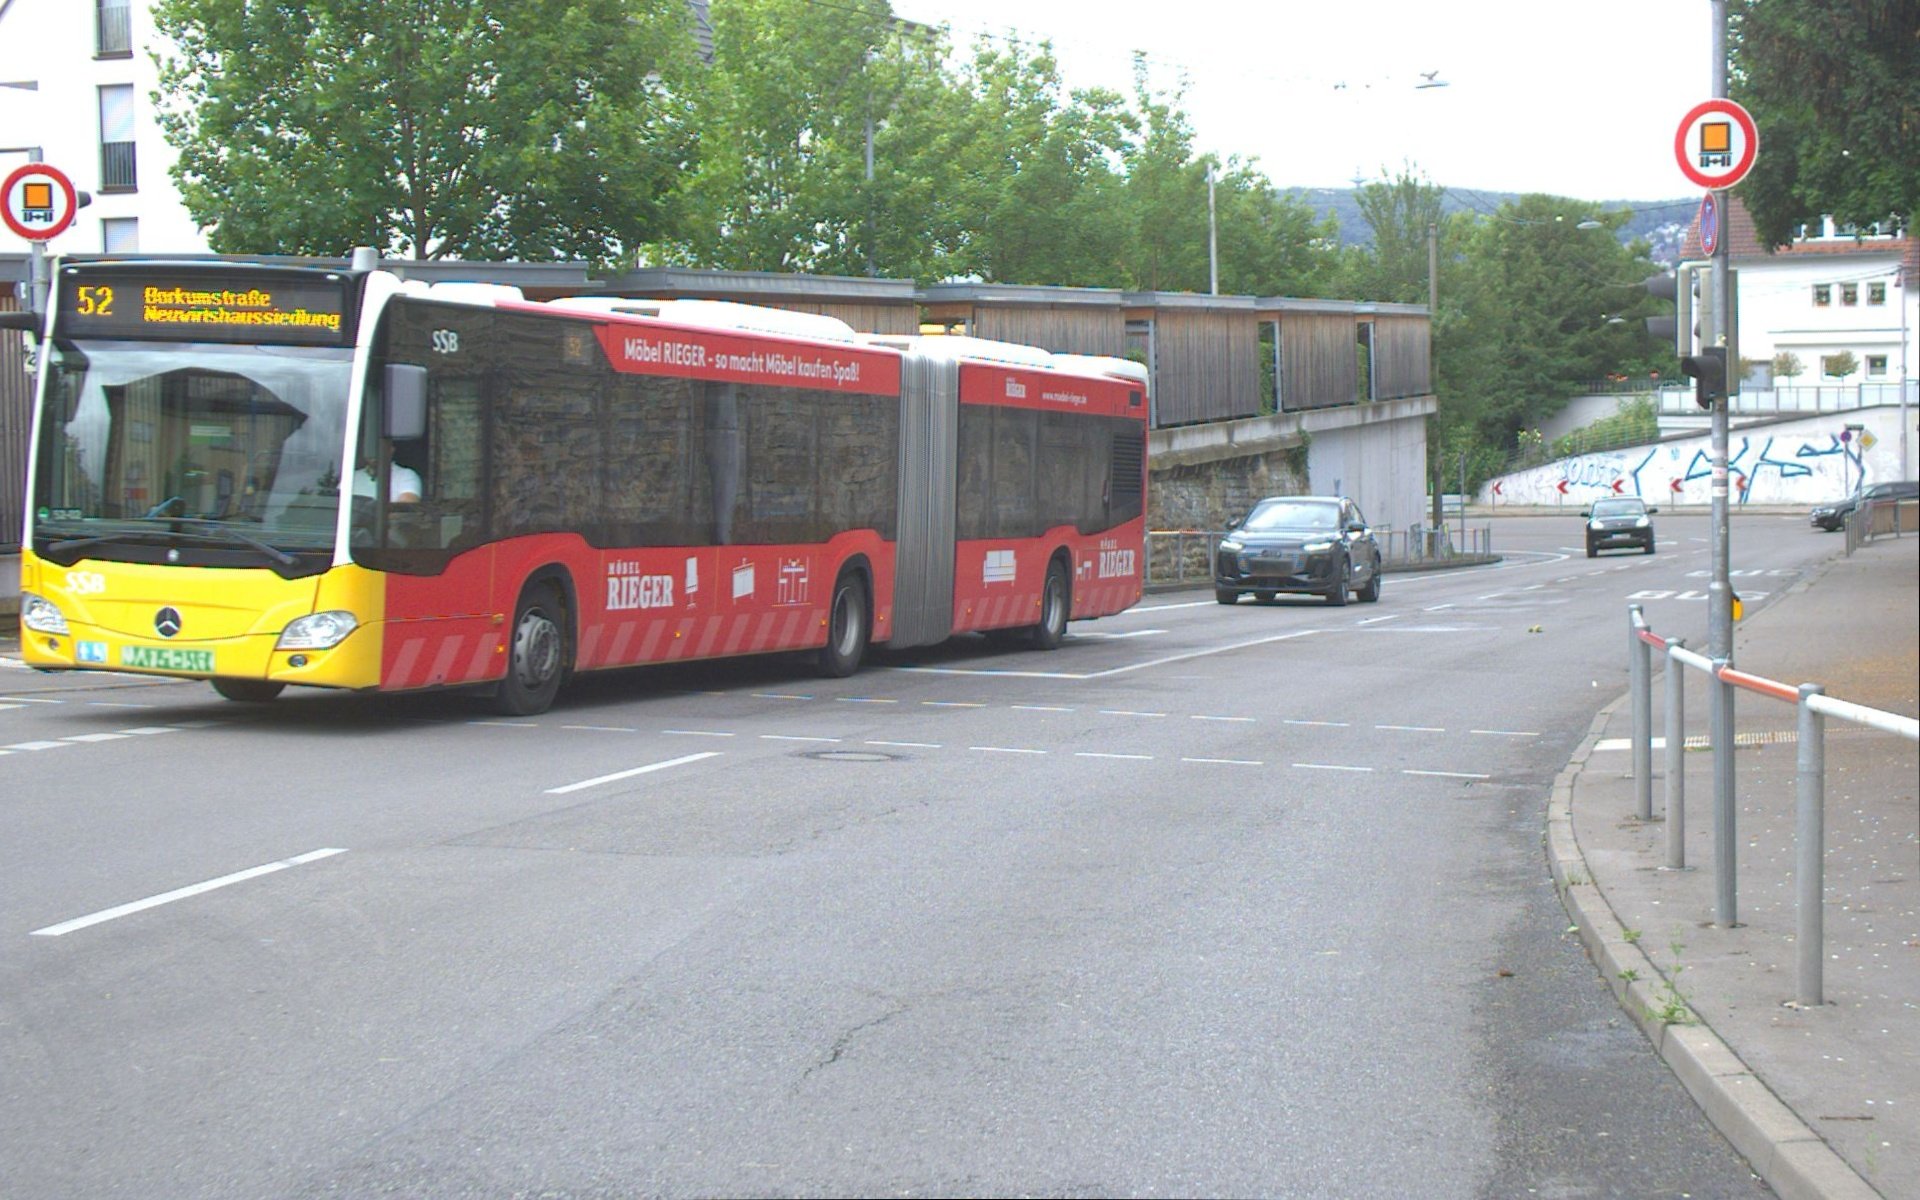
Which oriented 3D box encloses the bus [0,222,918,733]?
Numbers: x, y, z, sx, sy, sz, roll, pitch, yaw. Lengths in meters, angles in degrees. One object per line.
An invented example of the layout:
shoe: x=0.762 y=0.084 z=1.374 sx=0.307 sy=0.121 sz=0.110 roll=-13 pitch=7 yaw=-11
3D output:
bus: x=-3.294 y=-0.918 z=26.174 sx=2.660 sy=3.111 sz=10.010 roll=2 pitch=2 yaw=19

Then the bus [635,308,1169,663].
bus: x=-0.322 y=-1.155 z=34.828 sx=2.660 sy=3.111 sz=8.285 roll=2 pitch=2 yaw=19

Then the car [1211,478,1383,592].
car: x=5.251 y=-0.997 z=53.063 sx=1.923 sy=1.624 sz=4.520 roll=2 pitch=1 yaw=14

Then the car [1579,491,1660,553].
car: x=19.128 y=-2.260 z=99.627 sx=1.895 sy=1.750 sz=4.434 roll=0 pitch=1 yaw=16
